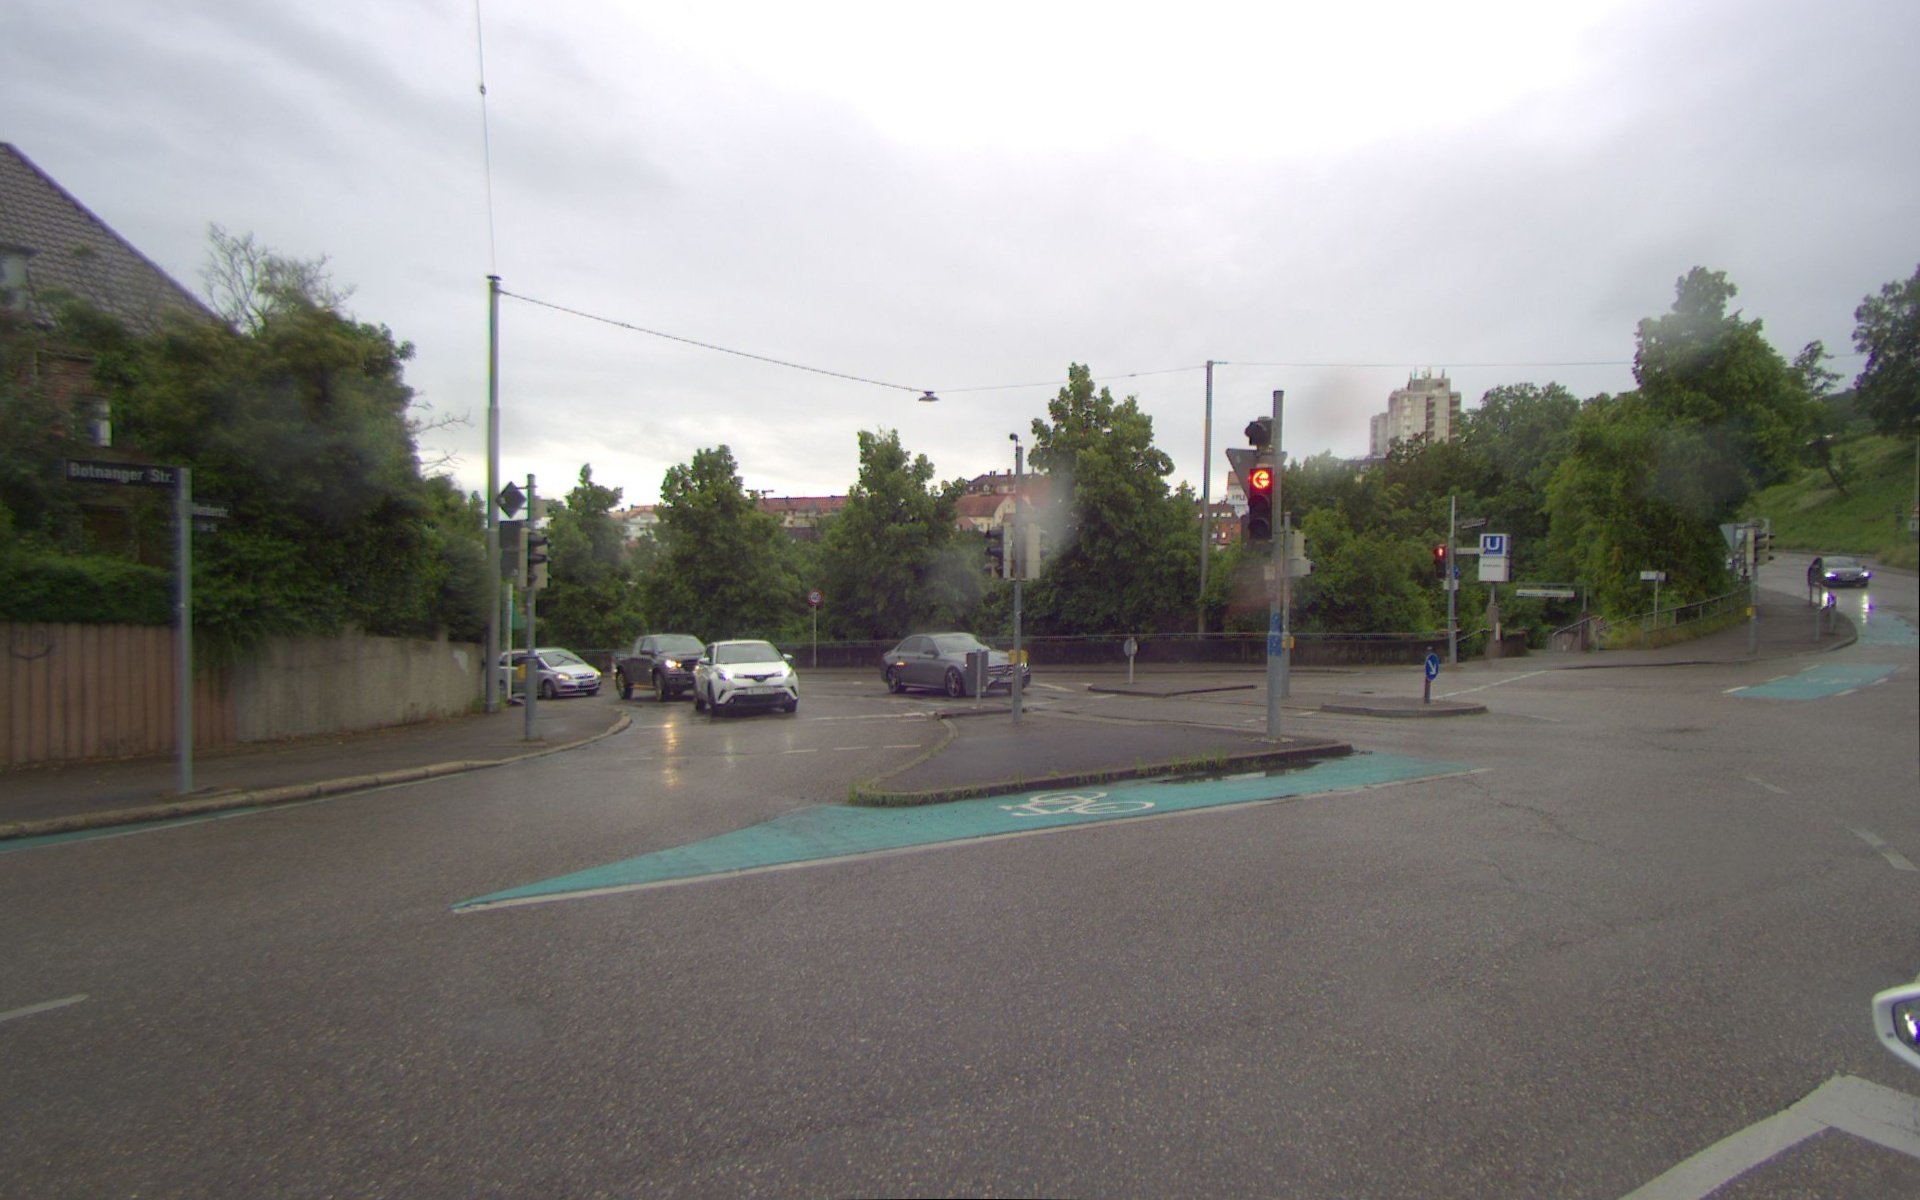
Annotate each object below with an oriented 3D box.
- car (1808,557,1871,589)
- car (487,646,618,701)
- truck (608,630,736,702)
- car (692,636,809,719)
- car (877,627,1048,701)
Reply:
[{"bbox_3d":[44.377,-1.391,50.789,1.931,1.532,4.388,1,3,36],"label":"car"},{"bbox_3d":[-13.603,2.419,33.450,4.238,1.653,1.853,-2,-1,31],"label":"car"},{"bbox_3d":[-8.335,1.911,28.763,1.890,1.809,4.940,-2,-3,-36],"label":"truck"},{"bbox_3d":[-4.591,1.627,21.615,1.810,1.527,3.866,-2,-2,-21],"label":"car"},{"bbox_3d":[-0.044,1.483,24.114,1.959,1.527,4.449,-2,-1,-33],"label":"car"}]
